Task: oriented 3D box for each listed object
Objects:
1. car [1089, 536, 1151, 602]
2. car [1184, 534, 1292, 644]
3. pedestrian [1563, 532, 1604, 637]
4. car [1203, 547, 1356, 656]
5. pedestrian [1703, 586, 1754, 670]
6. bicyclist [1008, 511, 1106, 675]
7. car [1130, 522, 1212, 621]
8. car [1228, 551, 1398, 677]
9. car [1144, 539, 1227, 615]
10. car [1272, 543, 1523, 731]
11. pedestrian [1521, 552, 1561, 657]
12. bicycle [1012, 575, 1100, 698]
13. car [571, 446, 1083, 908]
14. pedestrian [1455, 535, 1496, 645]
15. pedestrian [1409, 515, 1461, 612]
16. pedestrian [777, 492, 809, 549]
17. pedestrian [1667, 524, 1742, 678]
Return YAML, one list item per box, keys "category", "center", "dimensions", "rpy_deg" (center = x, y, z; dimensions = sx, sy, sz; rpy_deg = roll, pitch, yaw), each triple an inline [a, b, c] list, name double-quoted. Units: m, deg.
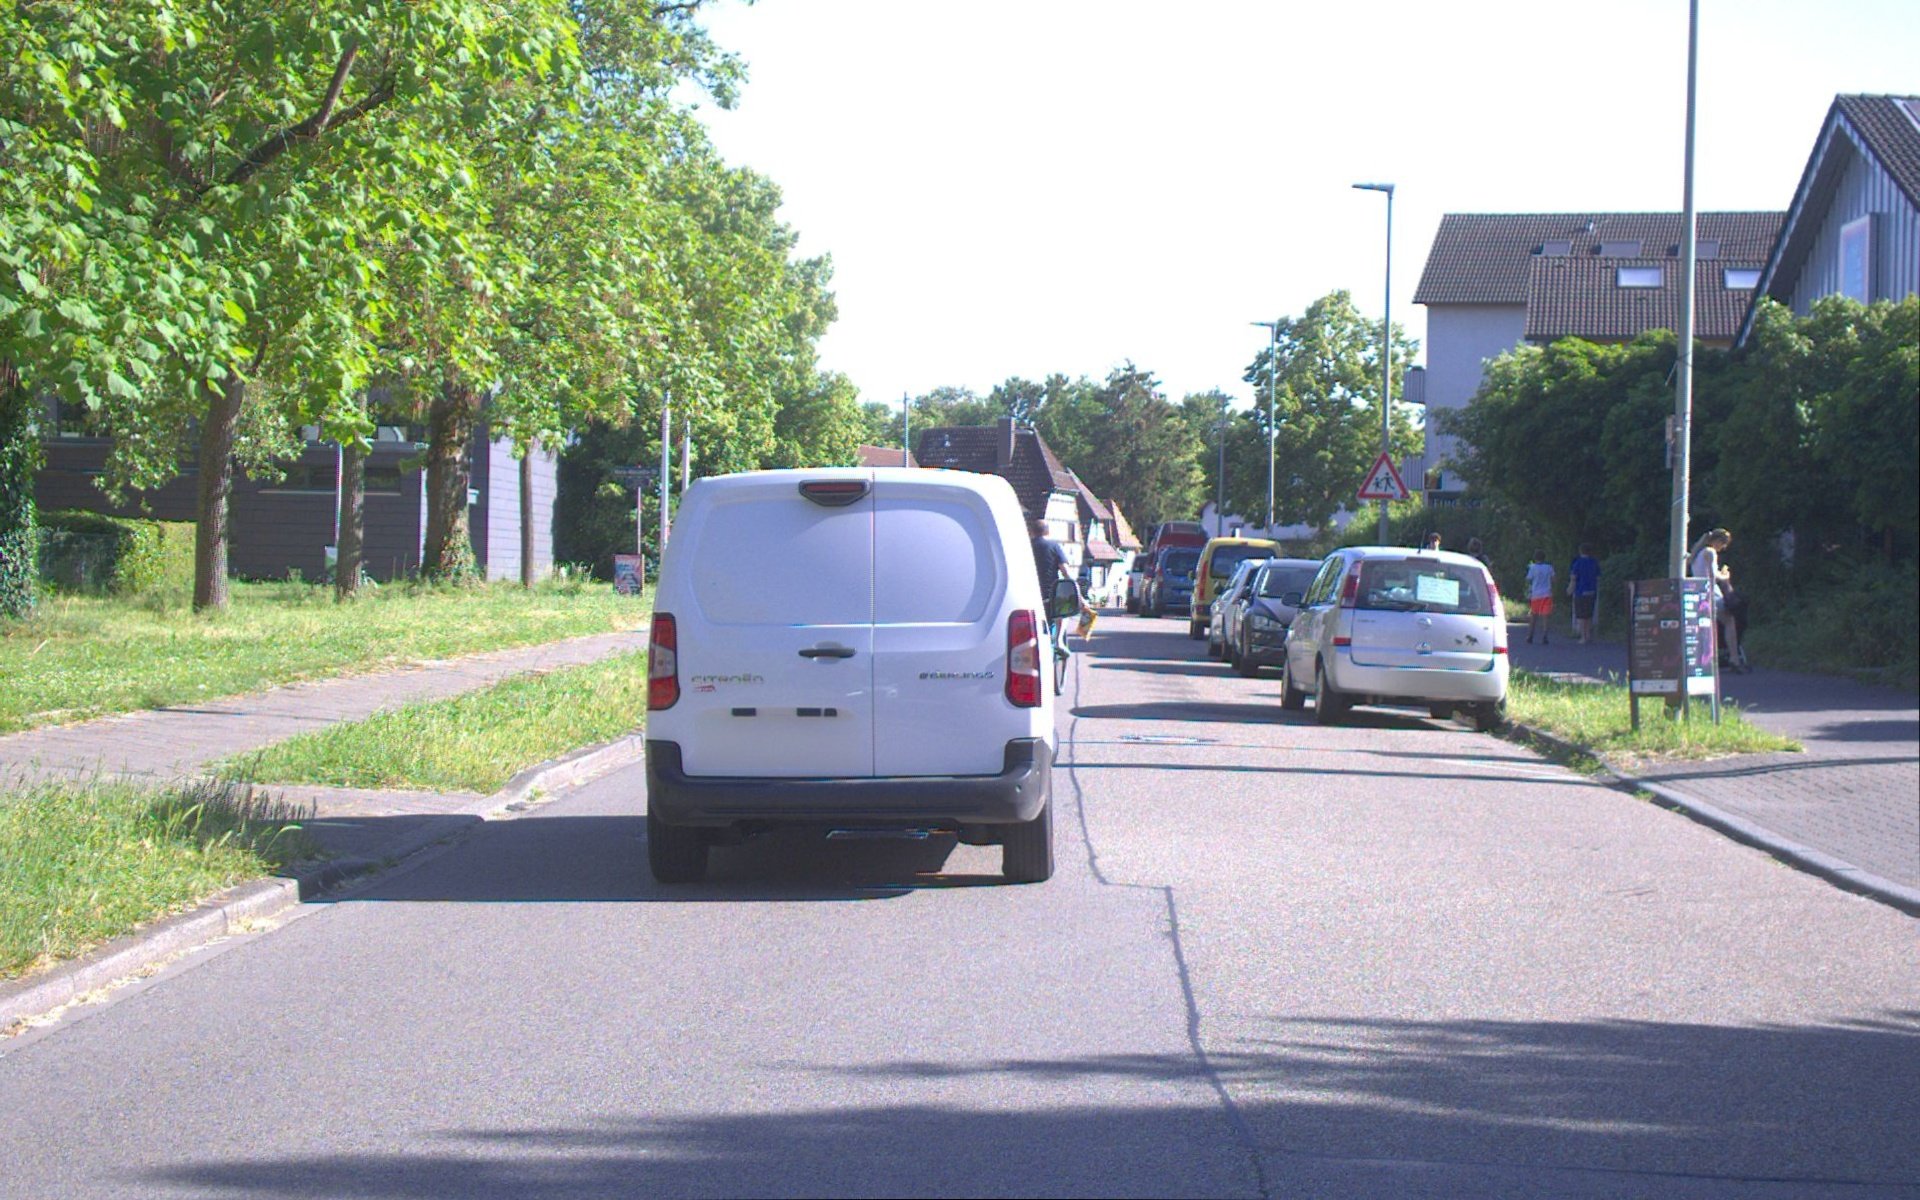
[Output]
- category: "car"
  center: [5.268, -1.004, 113.639]
  dimensions: [1.804, 2.061, 4.000]
  rpy_deg: [3, 0, 1]
- category: "car"
  center: [4.885, -0.209, 60.829]
  dimensions: [1.724, 1.831, 4.000]
  rpy_deg: [2, 0, 3]
- category: "pedestrian"
  center: [9.813, -0.241, 54.111]
  dimensions: [0.567, 1.631, 0.546]
  rpy_deg: [1, 1, 7]
- category: "car"
  center: [4.541, 0.009, 49.360]
  dimensions: [1.826, 1.447, 4.000]
  rpy_deg: [2, 1, 1]
- category: "pedestrian"
  center: [9.215, 0.332, 41.247]
  dimensions: [0.532, 0.977, 0.810]
  rpy_deg: [2, 1, 10]
- category: "bicyclist"
  center: [0.954, -0.067, 34.042]
  dimensions: [0.905, 1.579, 0.966]
  rpy_deg: [2, 0, 1]
- category: "car"
  center: [5.799, -0.762, 94.730]
  dimensions: [1.866, 2.553, 4.767]
  rpy_deg: [3, 0, 1]
- category: "car"
  center: [4.389, 0.136, 43.246]
  dimensions: [1.807, 1.438, 4.363]
  rpy_deg: [2, 1, 2]
- category: "car"
  center: [5.710, -0.562, 87.473]
  dimensions: [1.804, 1.779, 4.000]
  rpy_deg: [3, 0, 1]
- category: "car"
  center: [4.004, 0.305, 32.039]
  dimensions: [1.679, 1.594, 4.028]
  rpy_deg: [2, 0, -2]
- category: "pedestrian"
  center: [9.154, 0.065, 54.175]
  dimensions: [0.567, 1.631, 0.546]
  rpy_deg: [1, 1, 7]
- category: "bicycle"
  center: [0.935, 0.340, 33.978]
  dimensions: [0.787, 1.135, 2.280]
  rpy_deg: [1, 1, 0]
- category: "car"
  center: [-0.480, 0.280, 16.404]
  dimensions: [1.994, 1.875, 4.288]
  rpy_deg: [1, 1, 3]
- category: "pedestrian"
  center: [7.766, -0.156, 51.822]
  dimensions: [0.567, 1.631, 0.546]
  rpy_deg: [1, 1, 7]
- category: "pedestrian"
  center: [9.302, -0.717, 67.347]
  dimensions: [0.793, 1.855, 0.874]
  rpy_deg: [2, 1, -5]
- category: "pedestrian"
  center: [-4.330, -2.060, 89.012]
  dimensions: [0.510, 1.441, 0.638]
  rpy_deg: [2, 1, 35]
- category: "pedestrian"
  center: [8.754, 0.009, 40.439]
  dimensions: [0.799, 1.776, 0.808]
  rpy_deg: [1, 1, 10]
